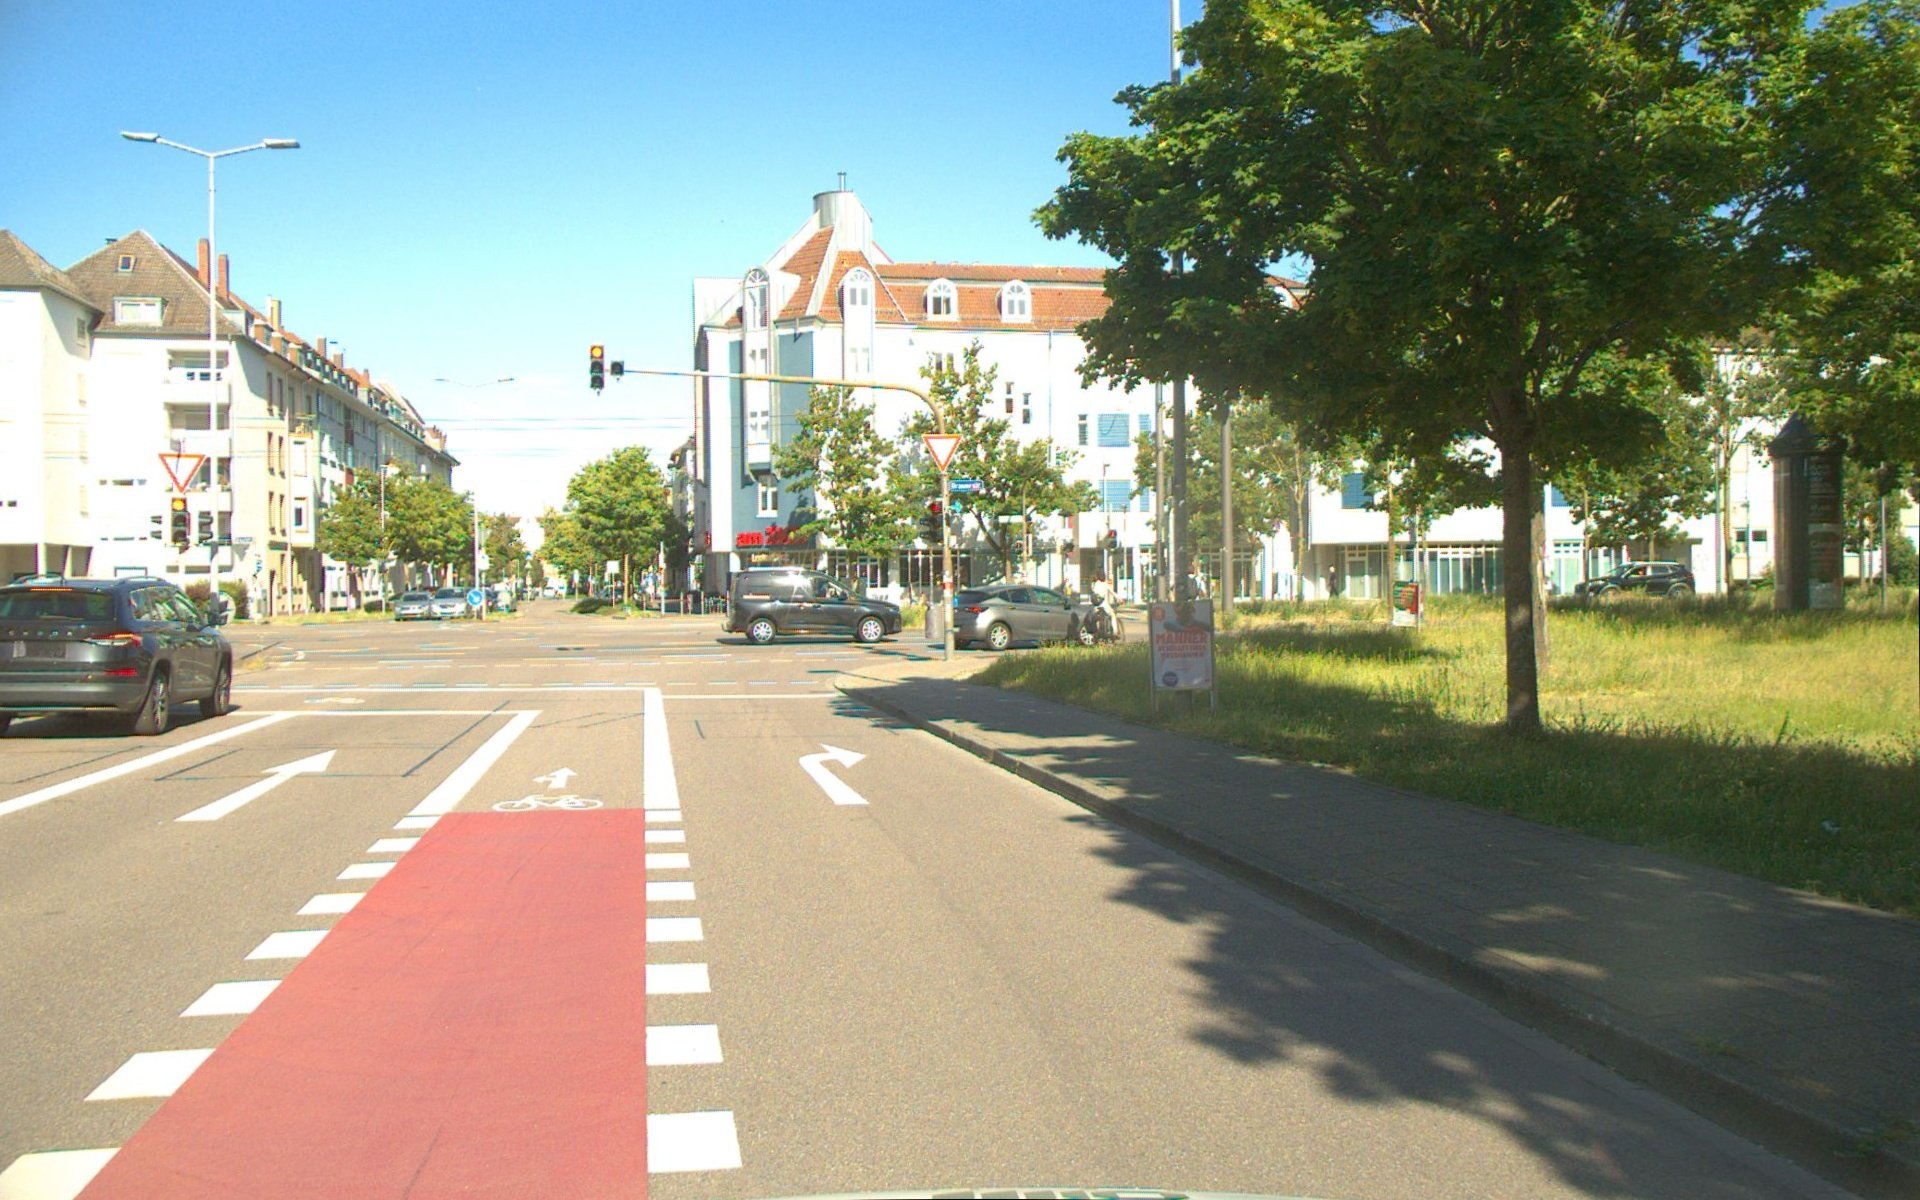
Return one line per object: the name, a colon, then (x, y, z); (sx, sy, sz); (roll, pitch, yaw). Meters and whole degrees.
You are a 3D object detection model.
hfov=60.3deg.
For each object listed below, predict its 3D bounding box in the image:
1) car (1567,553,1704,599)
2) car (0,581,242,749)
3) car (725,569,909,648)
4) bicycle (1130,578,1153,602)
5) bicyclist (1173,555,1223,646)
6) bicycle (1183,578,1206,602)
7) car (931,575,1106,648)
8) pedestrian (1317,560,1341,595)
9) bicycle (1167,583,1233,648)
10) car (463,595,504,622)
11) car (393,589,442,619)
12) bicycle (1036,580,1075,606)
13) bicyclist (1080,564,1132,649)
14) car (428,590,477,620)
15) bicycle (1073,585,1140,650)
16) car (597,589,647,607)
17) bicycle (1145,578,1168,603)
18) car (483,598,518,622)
car: (25.699, -0.907, 63.027); (4.410, 1.637, 1.999); (-1, 0, -2)
car: (-9.460, 0.642, 18.605); (1.723, 1.656, 4.463); (1, 0, -13)
car: (-3.613, 0.218, 41.500); (4.403, 1.832, 1.759); (1, 0, -12)
bicycle: (9.046, -0.499, 82.395); (0.550, 1.203, 1.864); (-1, 1, -13)
bicyclist: (5.310, 0.000, 36.834); (0.775, 1.993, 1.010); (-1, 0, 26)
bicycle: (11.735, -0.494, 82.839); (0.550, 1.203, 1.865); (-1, 1, -10)
car: (1.383, 0.282, 38.448); (3.824, 1.605, 1.674); (1, 0, -34)
pedestrian: (18.606, -1.141, 83.384); (0.972, 1.753, 0.652); (-1, 0, -13)
bicycle: (5.393, 0.322, 37.008); (0.775, 1.371, 2.261); (-1, 1, 26)
car: (-26.998, 0.487, 93.757); (1.657, 1.457, 4.391); (1, 0, -9)
car: (-27.951, 0.202, 85.297); (1.657, 1.457, 4.391); (1, 0, -9)
bicycle: (4.632, -0.342, 80.296); (1.833, 1.203, 0.560); (-1, 0, -16)
bicyclist: (3.267, 0.136, 36.985); (0.775, 1.856, 1.134); (-1, 0, 26)
car: (-25.284, 0.246, 82.519); (1.657, 1.457, 4.391); (1, 0, -9)
bicycle: (3.284, 0.378, 36.992); (0.775, 1.371, 2.077); (-1, 1, 26)
car: (-24.906, -0.153, 121.863); (3.511, 1.245, 1.723); (0, -1, -17)
bicycle: (9.853, -0.487, 82.877); (0.550, 1.203, 1.864); (-1, 1, -13)
car: (-29.660, 0.637, 106.803); (1.657, 1.457, 4.391); (1, 0, -9)
